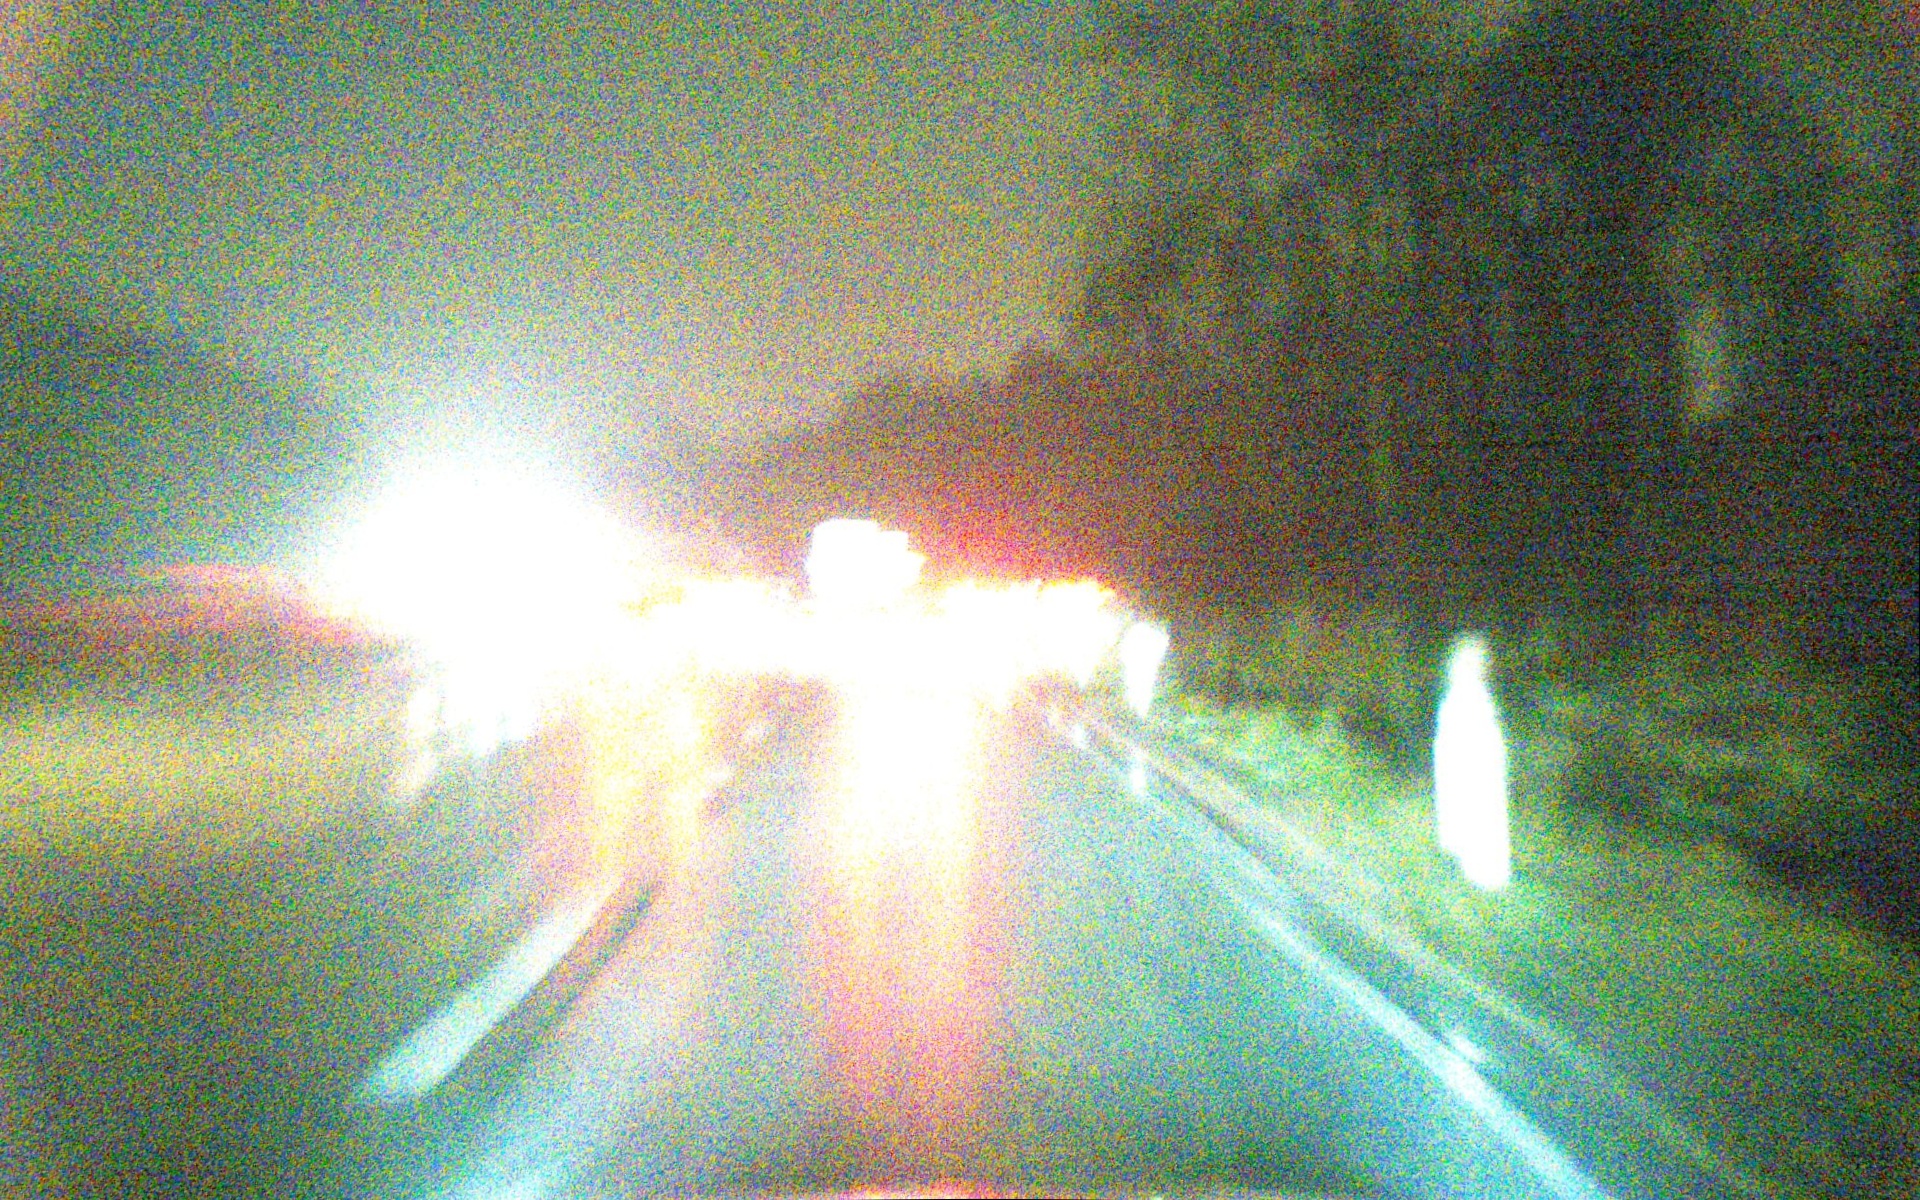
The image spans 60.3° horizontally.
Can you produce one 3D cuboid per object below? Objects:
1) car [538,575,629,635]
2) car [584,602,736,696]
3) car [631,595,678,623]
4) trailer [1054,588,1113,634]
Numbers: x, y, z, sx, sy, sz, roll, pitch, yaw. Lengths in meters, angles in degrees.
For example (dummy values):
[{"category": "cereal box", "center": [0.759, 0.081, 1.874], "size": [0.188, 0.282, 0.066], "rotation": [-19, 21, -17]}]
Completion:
[{"category": "car", "center": [-10.160, 0.126, 44.907], "size": [1.733, 1.543, 4.909], "rotation": [0, 0, -5]}, {"category": "car", "center": [-4.892, 0.771, 27.491], "size": [1.923, 1.405, 4.047], "rotation": [1, -1, -3]}, {"category": "car", "center": [-17.596, 0.524, 95.378], "size": [1.853, 1.578, 4.000], "rotation": [0, -1, 1]}, {"category": "trailer", "center": [6.065, 0.539, 79.817], "size": [2.034, 2.049, 10.656], "rotation": [0, -1, 9]}]
